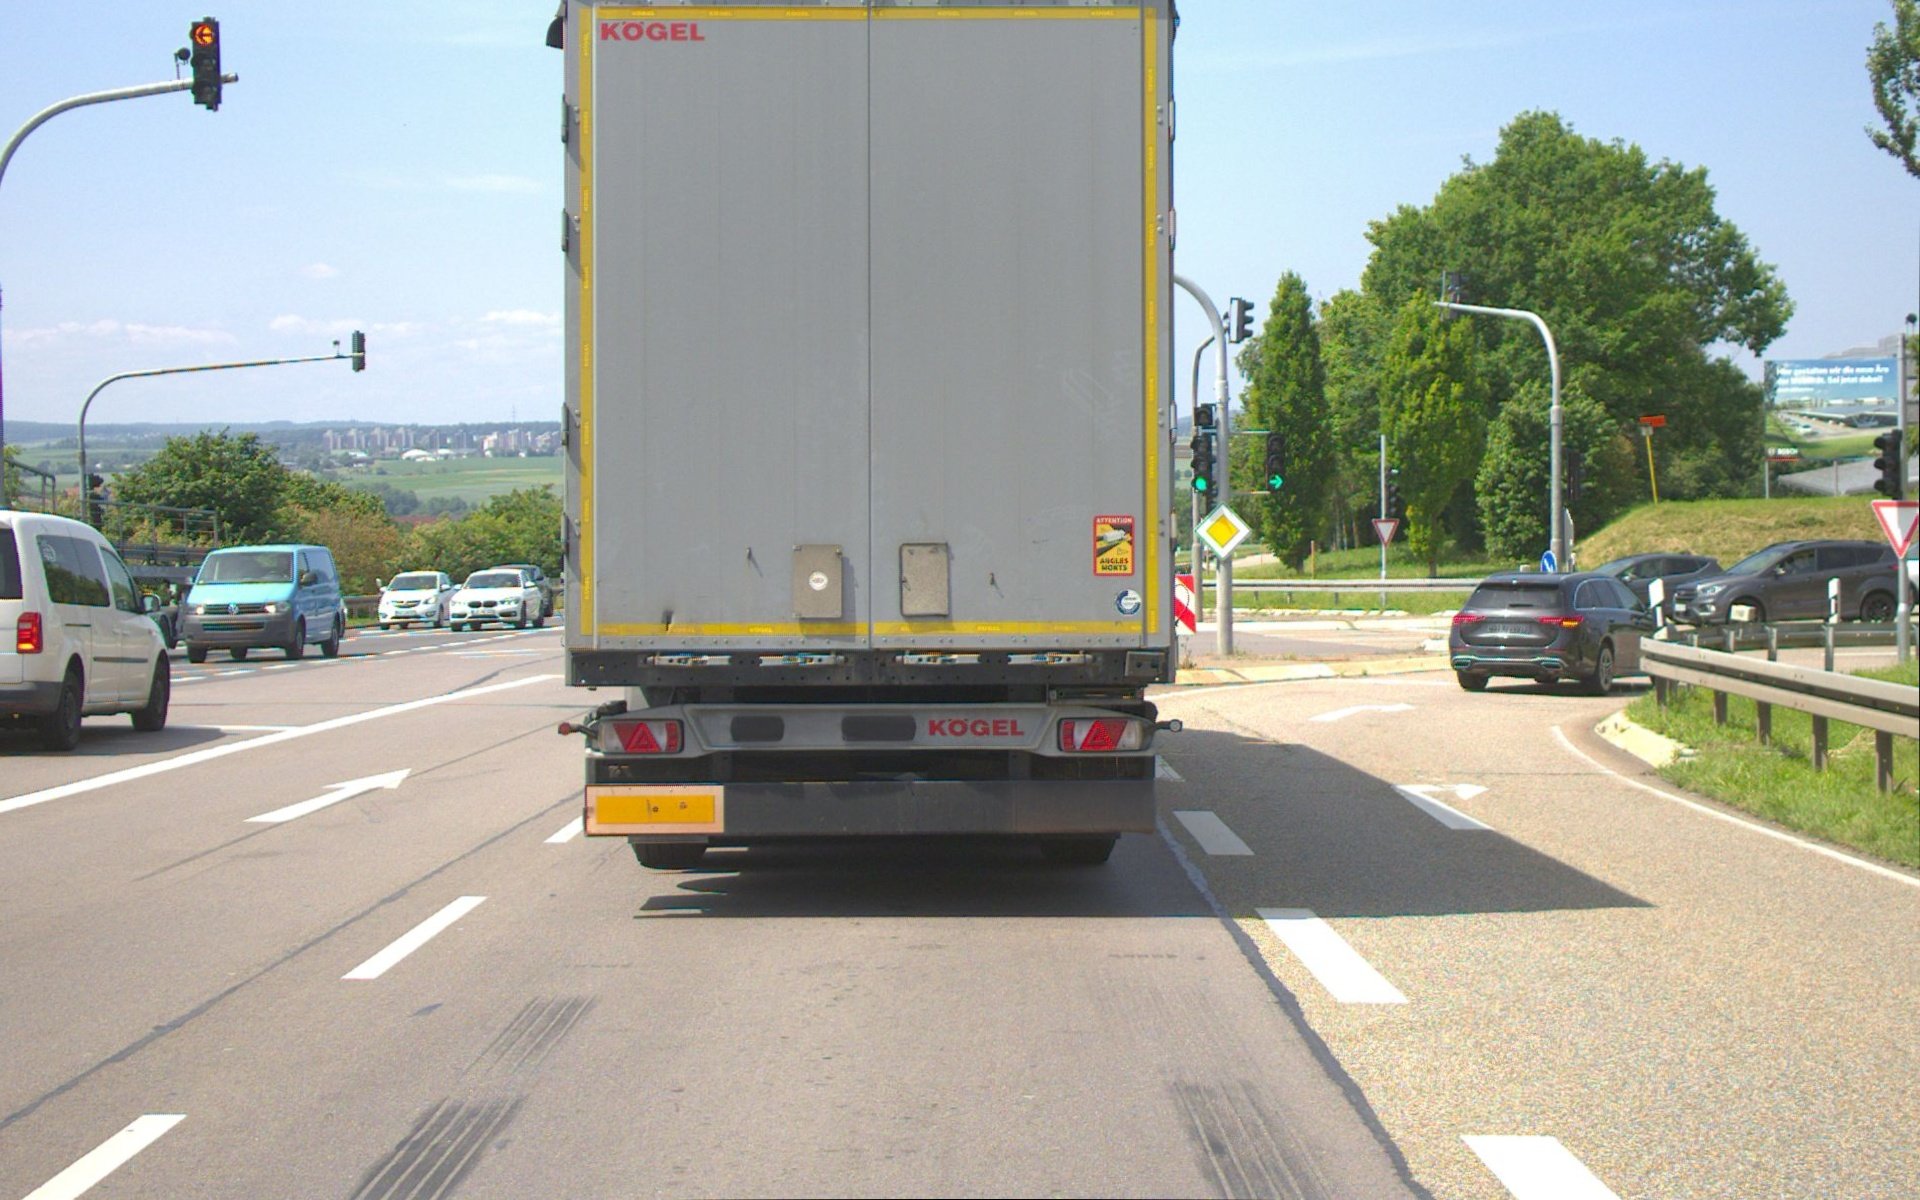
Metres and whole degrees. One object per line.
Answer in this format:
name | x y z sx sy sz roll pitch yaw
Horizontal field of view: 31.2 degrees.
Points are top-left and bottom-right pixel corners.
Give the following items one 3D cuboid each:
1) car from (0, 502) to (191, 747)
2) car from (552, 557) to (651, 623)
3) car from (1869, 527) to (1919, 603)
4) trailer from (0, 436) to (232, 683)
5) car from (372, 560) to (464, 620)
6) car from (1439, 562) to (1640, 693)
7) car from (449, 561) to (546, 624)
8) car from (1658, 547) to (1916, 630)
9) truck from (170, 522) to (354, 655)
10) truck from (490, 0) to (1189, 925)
car | -7.660 0.141 27.630 1.767 1.792 4.752 1 1 2
car | -8.512 -0.233 81.940 1.755 1.464 4.196 2 0 2
car | 21.599 -0.748 72.487 4.357 1.587 1.780 0 0 -8
trailer | -15.723 -0.617 56.804 2.639 3.750 19.798 -1 0 2
car | -14.242 -0.268 90.448 1.644 1.491 3.801 -2 0 2
car | 7.229 0.321 42.591 1.747 1.527 4.294 1 0 19
car | -11.115 -0.182 82.874 1.772 1.429 4.000 -1 0 0
car | 15.477 -0.226 64.407 4.357 1.505 1.717 0 0 -10
truck | -11.860 -0.194 58.710 1.966 2.150 4.623 -1 0 3
truck | -0.619 -0.704 19.653 2.799 3.916 11.342 1 1 -1
